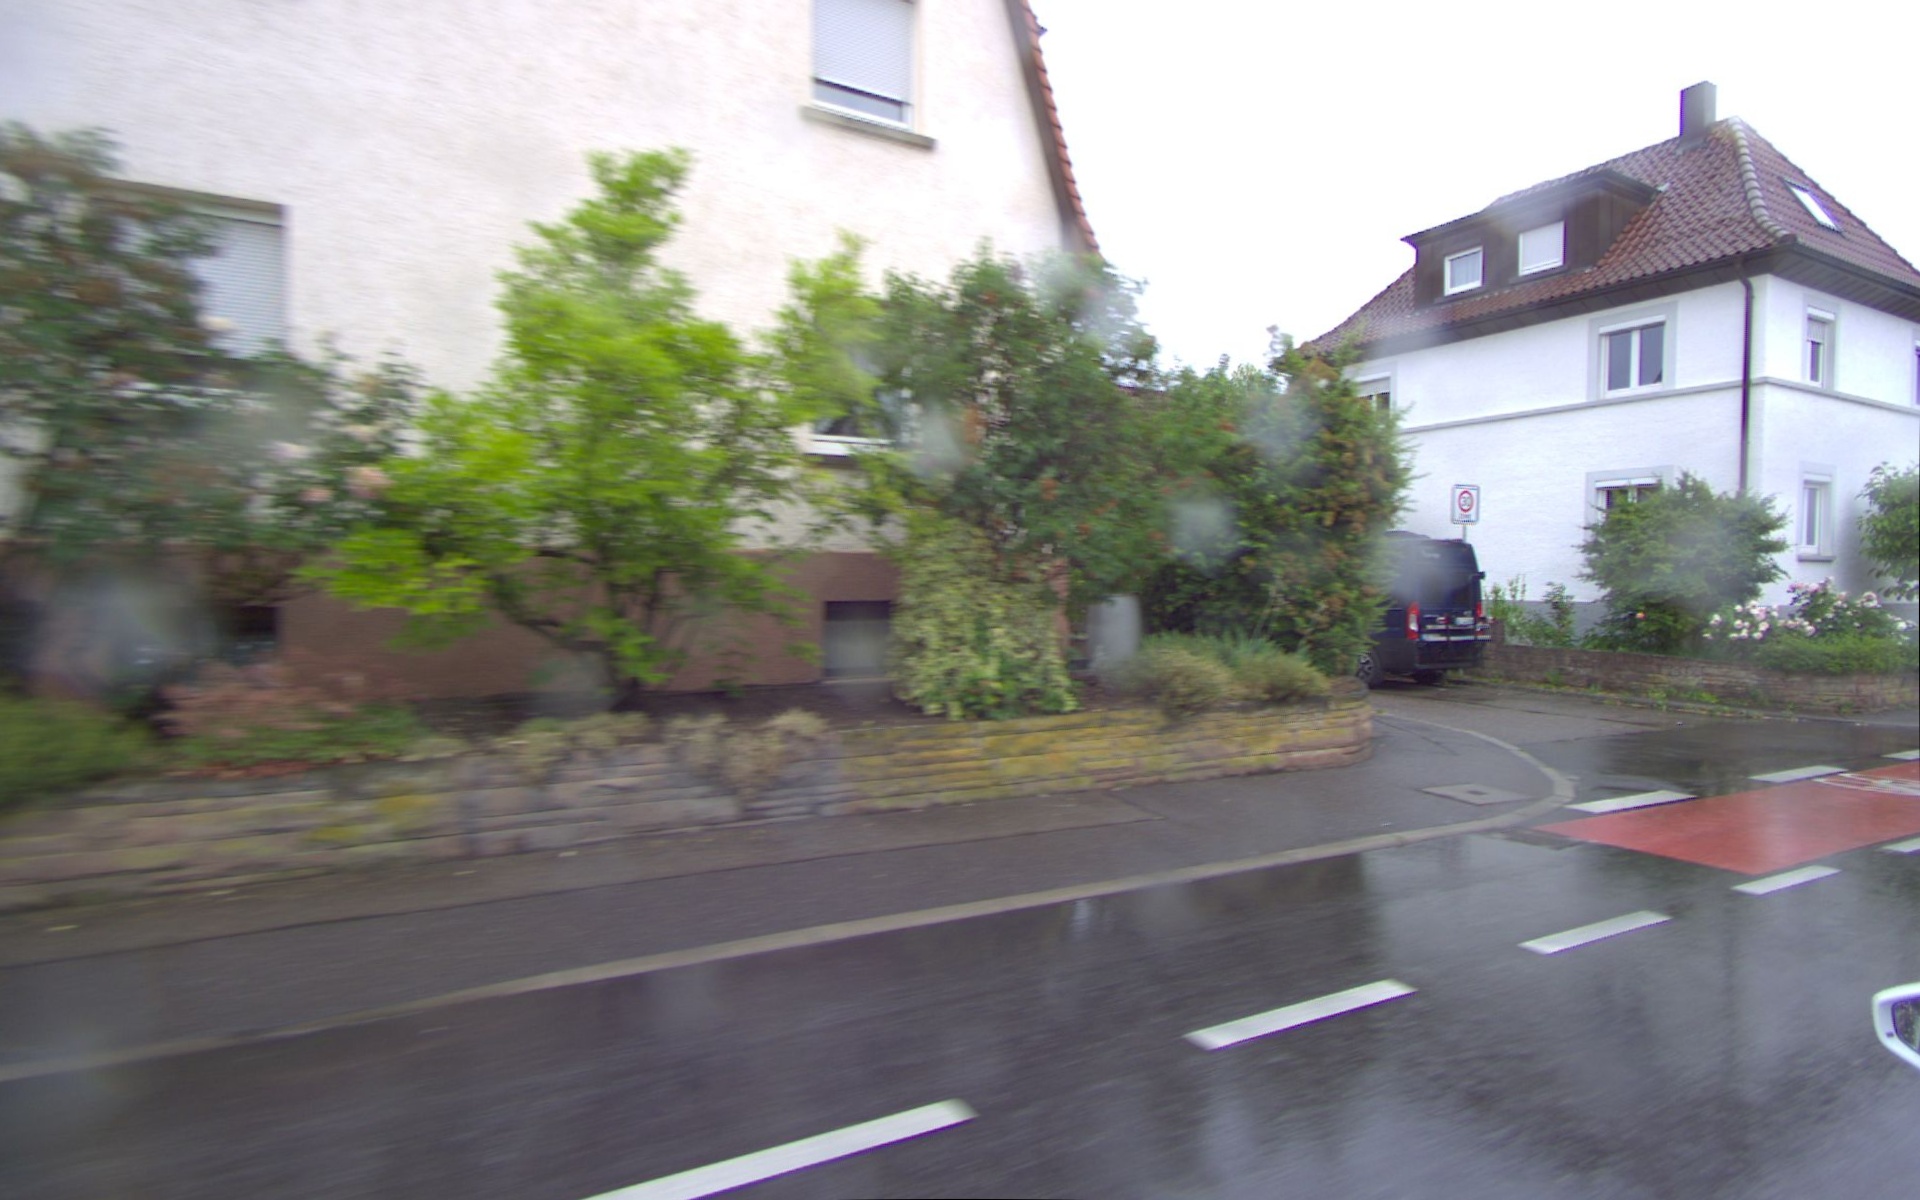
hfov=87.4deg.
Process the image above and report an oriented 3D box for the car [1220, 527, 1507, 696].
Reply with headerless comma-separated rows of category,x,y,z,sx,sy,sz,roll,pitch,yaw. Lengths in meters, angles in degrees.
car,7.168,0.101,18.252,2.295,2.658,4.336,-3,3,-33
